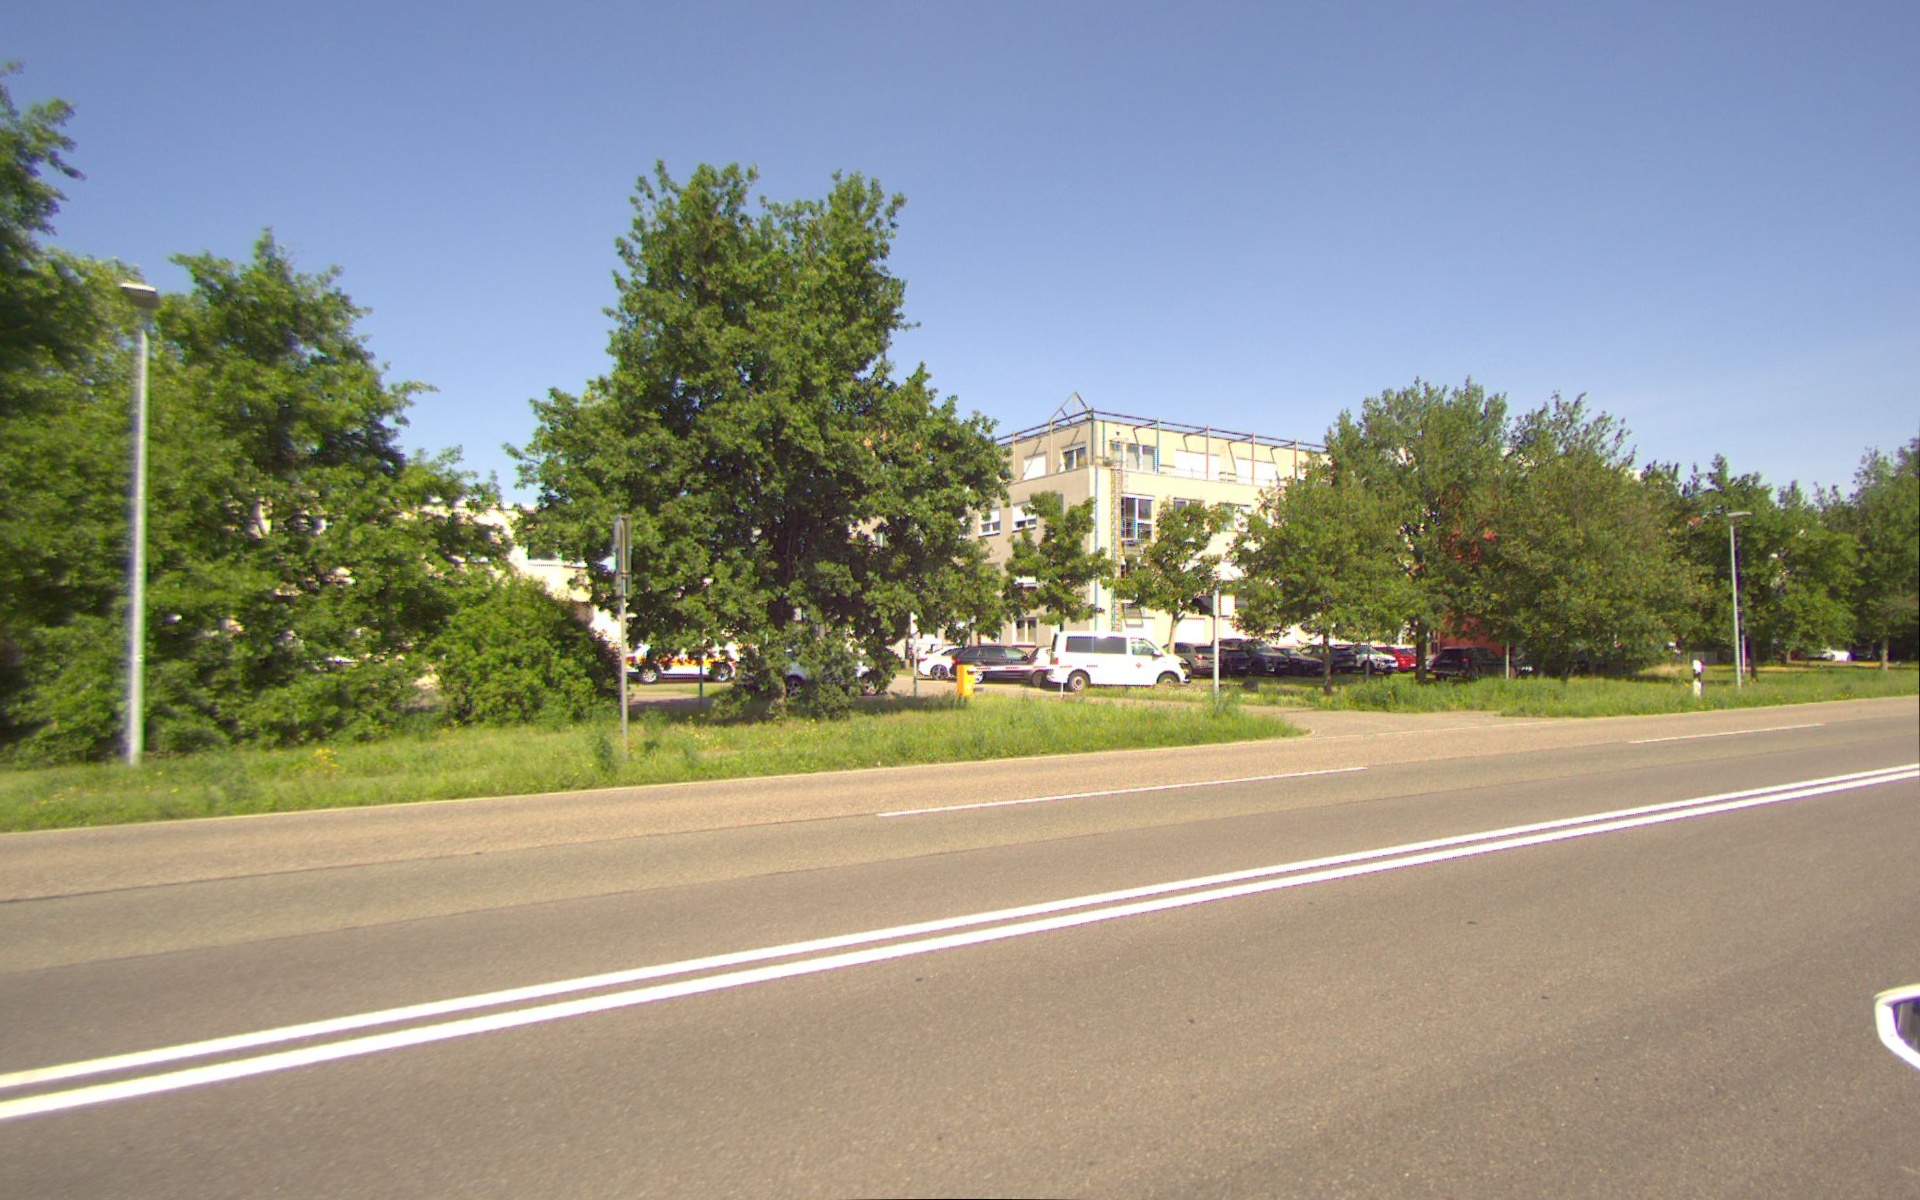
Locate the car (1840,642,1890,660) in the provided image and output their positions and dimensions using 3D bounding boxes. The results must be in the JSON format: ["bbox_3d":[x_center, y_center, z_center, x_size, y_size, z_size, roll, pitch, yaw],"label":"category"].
[{"bbox_3d":[78.544,4.416,87.155,4.556,1.456,1.984,1,-2,-31],"label":"car"}]

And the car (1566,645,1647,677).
[{"bbox_3d":[33.856,3.159,52.582,4.496,1.599,1.735,1,-2,-31],"label":"car"}]

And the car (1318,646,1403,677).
[{"bbox_3d":[21.360,3.247,53.695,1.866,1.557,3.968,1,-2,-31],"label":"car"}]

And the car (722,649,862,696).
[{"bbox_3d":[-5.499,2.346,33.053,4.145,1.412,1.919,1,-2,-32],"label":"car"}]

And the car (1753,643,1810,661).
[{"bbox_3d":[68.504,4.328,83.723,4.894,1.456,1.985,1,-2,-29],"label":"car"}]

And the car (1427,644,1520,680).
[{"bbox_3d":[23.810,2.841,46.553,4.496,1.599,1.735,1,-2,-31],"label":"car"}]

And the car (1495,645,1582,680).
[{"bbox_3d":[28.461,3.043,49.418,4.496,1.599,1.735,1,-2,-31],"label":"car"}]

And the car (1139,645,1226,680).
[{"bbox_3d":[10.470,2.906,47.485,1.866,1.557,3.968,1,-2,-31],"label":"car"}]

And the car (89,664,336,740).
[{"bbox_3d":[-15.448,2.073,21.057,3.954,1.368,1.664,1,-2,-31],"label":"car"}]

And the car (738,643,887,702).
[{"bbox_3d":[-4.524,2.191,30.932,4.145,1.673,1.919,1,-2,-32],"label":"car"}]

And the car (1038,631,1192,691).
[{"bbox_3d":[5.167,2.039,34.006,4.916,1.954,2.075,0,-2,0],"label":"car"}]

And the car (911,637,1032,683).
[{"bbox_3d":[0.479,2.472,42.000,4.916,1.830,2.075,0,-2,0],"label":"car"}]

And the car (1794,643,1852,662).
[{"bbox_3d":[70.282,4.248,81.766,4.894,1.456,1.985,1,-2,-29],"label":"car"}]

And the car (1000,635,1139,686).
[{"bbox_3d":[3.994,2.218,37.273,4.916,1.830,2.075,0,-2,0],"label":"car"}]

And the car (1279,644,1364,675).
[{"bbox_3d":[19.046,3.105,53.073,1.866,1.557,3.968,1,-2,-31],"label":"car"}]

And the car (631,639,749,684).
[{"bbox_3d":[-10.587,2.372,39.453,4.120,1.679,1.847,1,-2,-31],"label":"car"}]

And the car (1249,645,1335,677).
[{"bbox_3d":[16.907,3.089,51.331,1.866,1.557,3.968,1,-2,-31],"label":"car"}]

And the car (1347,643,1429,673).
[{"bbox_3d":[23.668,3.201,55.677,1.722,1.557,3.968,1,-2,-31],"label":"car"}]

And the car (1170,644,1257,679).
[{"bbox_3d":[12.304,2.965,49.021,1.866,1.557,3.968,1,-2,-31],"label":"car"}]

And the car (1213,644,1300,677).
[{"bbox_3d":[14.746,2.973,50.134,1.866,1.557,3.968,1,-2,-31],"label":"car"}]

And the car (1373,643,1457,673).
[{"bbox_3d":[25.663,3.271,56.814,1.722,1.606,4.115,1,-2,-31],"label":"car"}]
